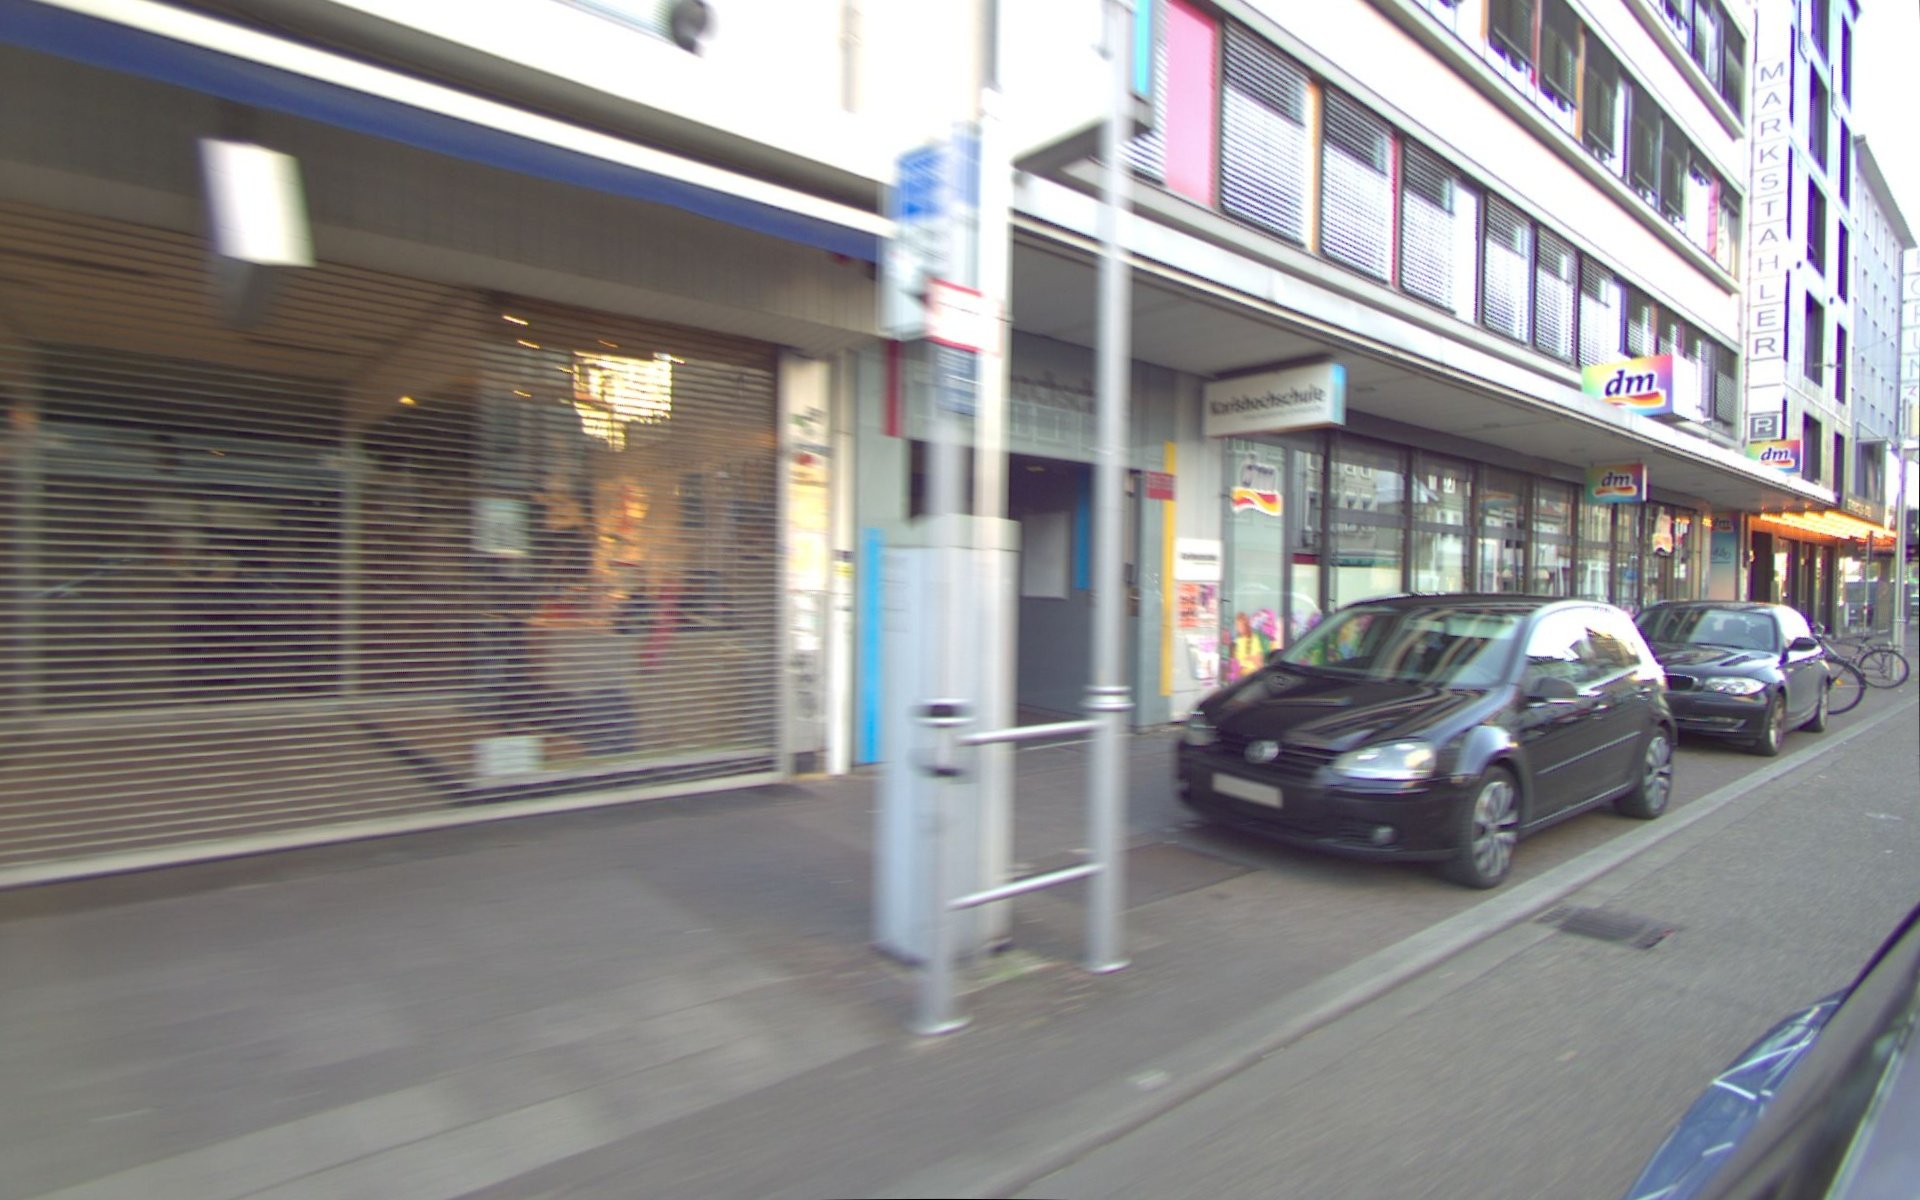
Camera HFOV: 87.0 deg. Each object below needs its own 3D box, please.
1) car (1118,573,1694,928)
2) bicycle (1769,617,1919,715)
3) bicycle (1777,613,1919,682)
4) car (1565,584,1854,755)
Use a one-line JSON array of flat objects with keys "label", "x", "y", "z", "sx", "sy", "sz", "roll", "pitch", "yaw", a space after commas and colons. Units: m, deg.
[{"label": "car", "x": 2.984, "y": 0.628, "z": 6.363, "sx": 4.001, "sy": 1.532, "sz": 1.768, "roll": -1, "pitch": 0, "yaw": -41}, {"label": "bicycle", "x": 11.412, "y": 0.810, "z": 12.750, "sx": 0.631, "sy": 1.123, "sz": 1.841, "roll": 0, "pitch": 1, "yaw": -43}, {"label": "bicycle", "x": 15.069, "y": 0.774, "z": 17.157, "sx": 0.566, "sy": 0.984, "sz": 1.797, "roll": 0, "pitch": 3, "yaw": -43}, {"label": "car", "x": 8.088, "y": 0.595, "z": 10.797, "sx": 3.952, "sy": 1.481, "sz": 1.657, "roll": -1, "pitch": 0, "yaw": -41}]
